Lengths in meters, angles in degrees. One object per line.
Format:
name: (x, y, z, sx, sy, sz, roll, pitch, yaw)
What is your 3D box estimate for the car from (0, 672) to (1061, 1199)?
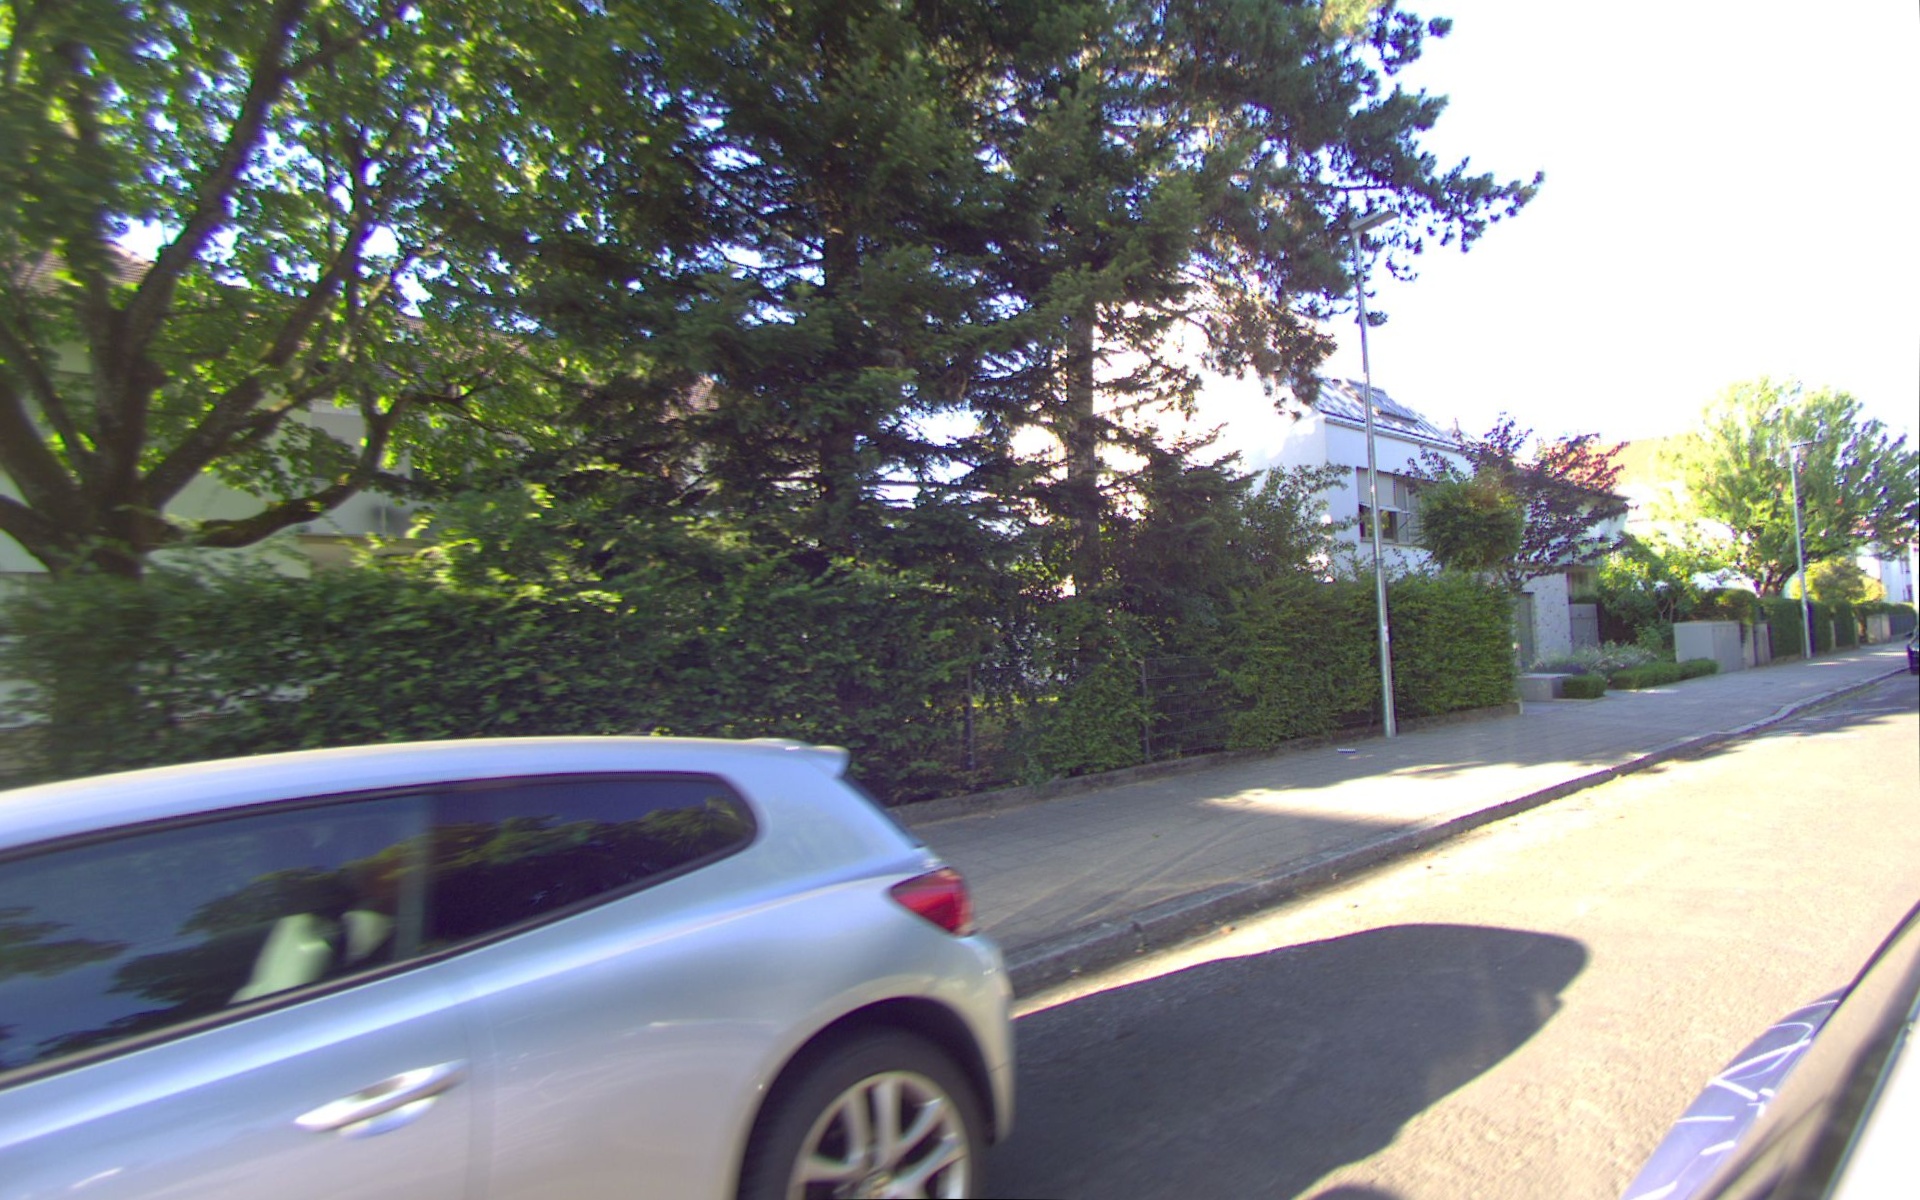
car: (-1.884, 1.033, 1.898, 4.000, 1.439, 1.758, 0, -10, -40)
